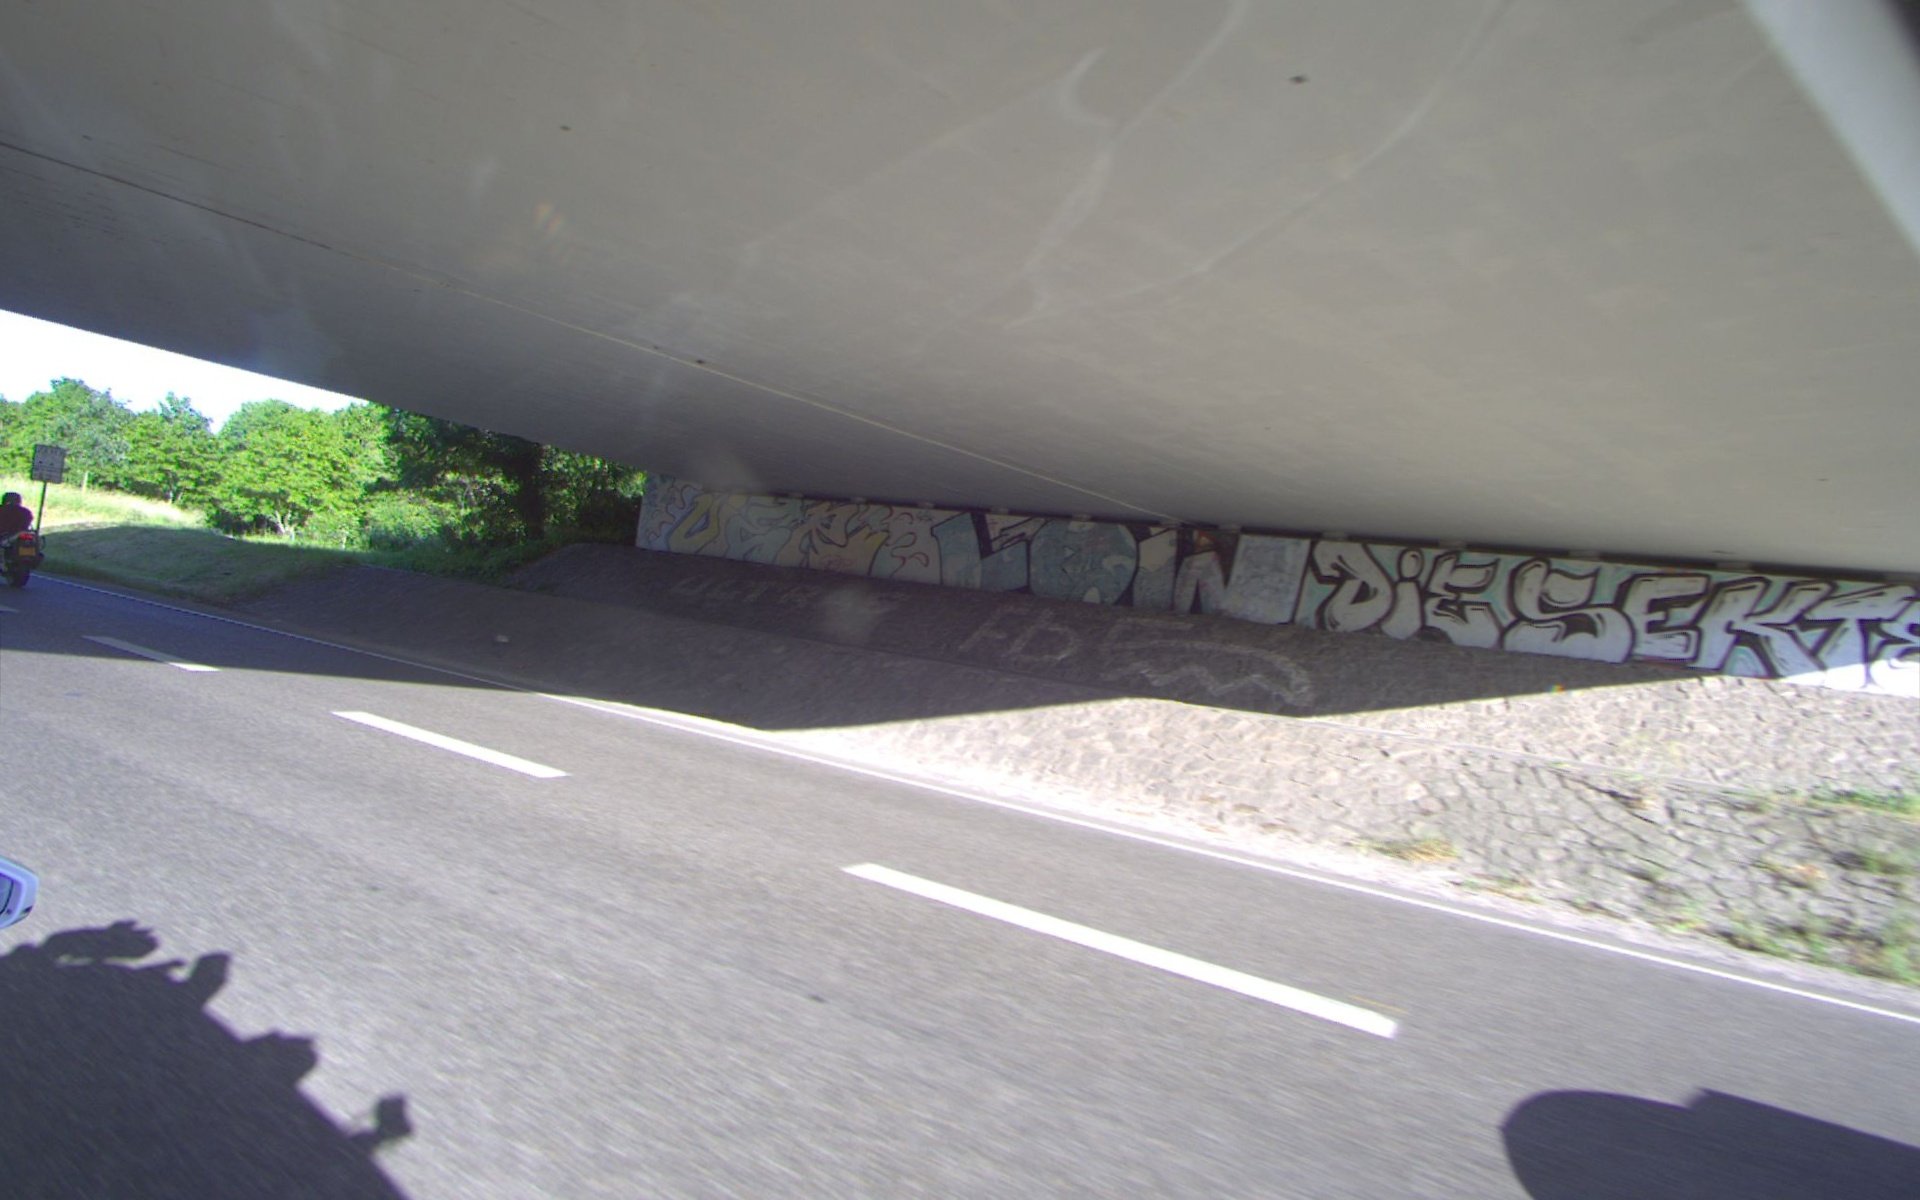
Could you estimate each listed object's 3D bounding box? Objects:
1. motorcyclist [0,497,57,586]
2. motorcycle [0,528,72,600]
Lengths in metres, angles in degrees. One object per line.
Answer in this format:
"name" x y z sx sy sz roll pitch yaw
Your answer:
"motorcyclist" -17.132 -1.079 18.143 1.075 1.464 0.818 7 -1 29
"motorcycle" -17.194 -0.716 18.144 2.787 1.082 0.818 6 -2 30
